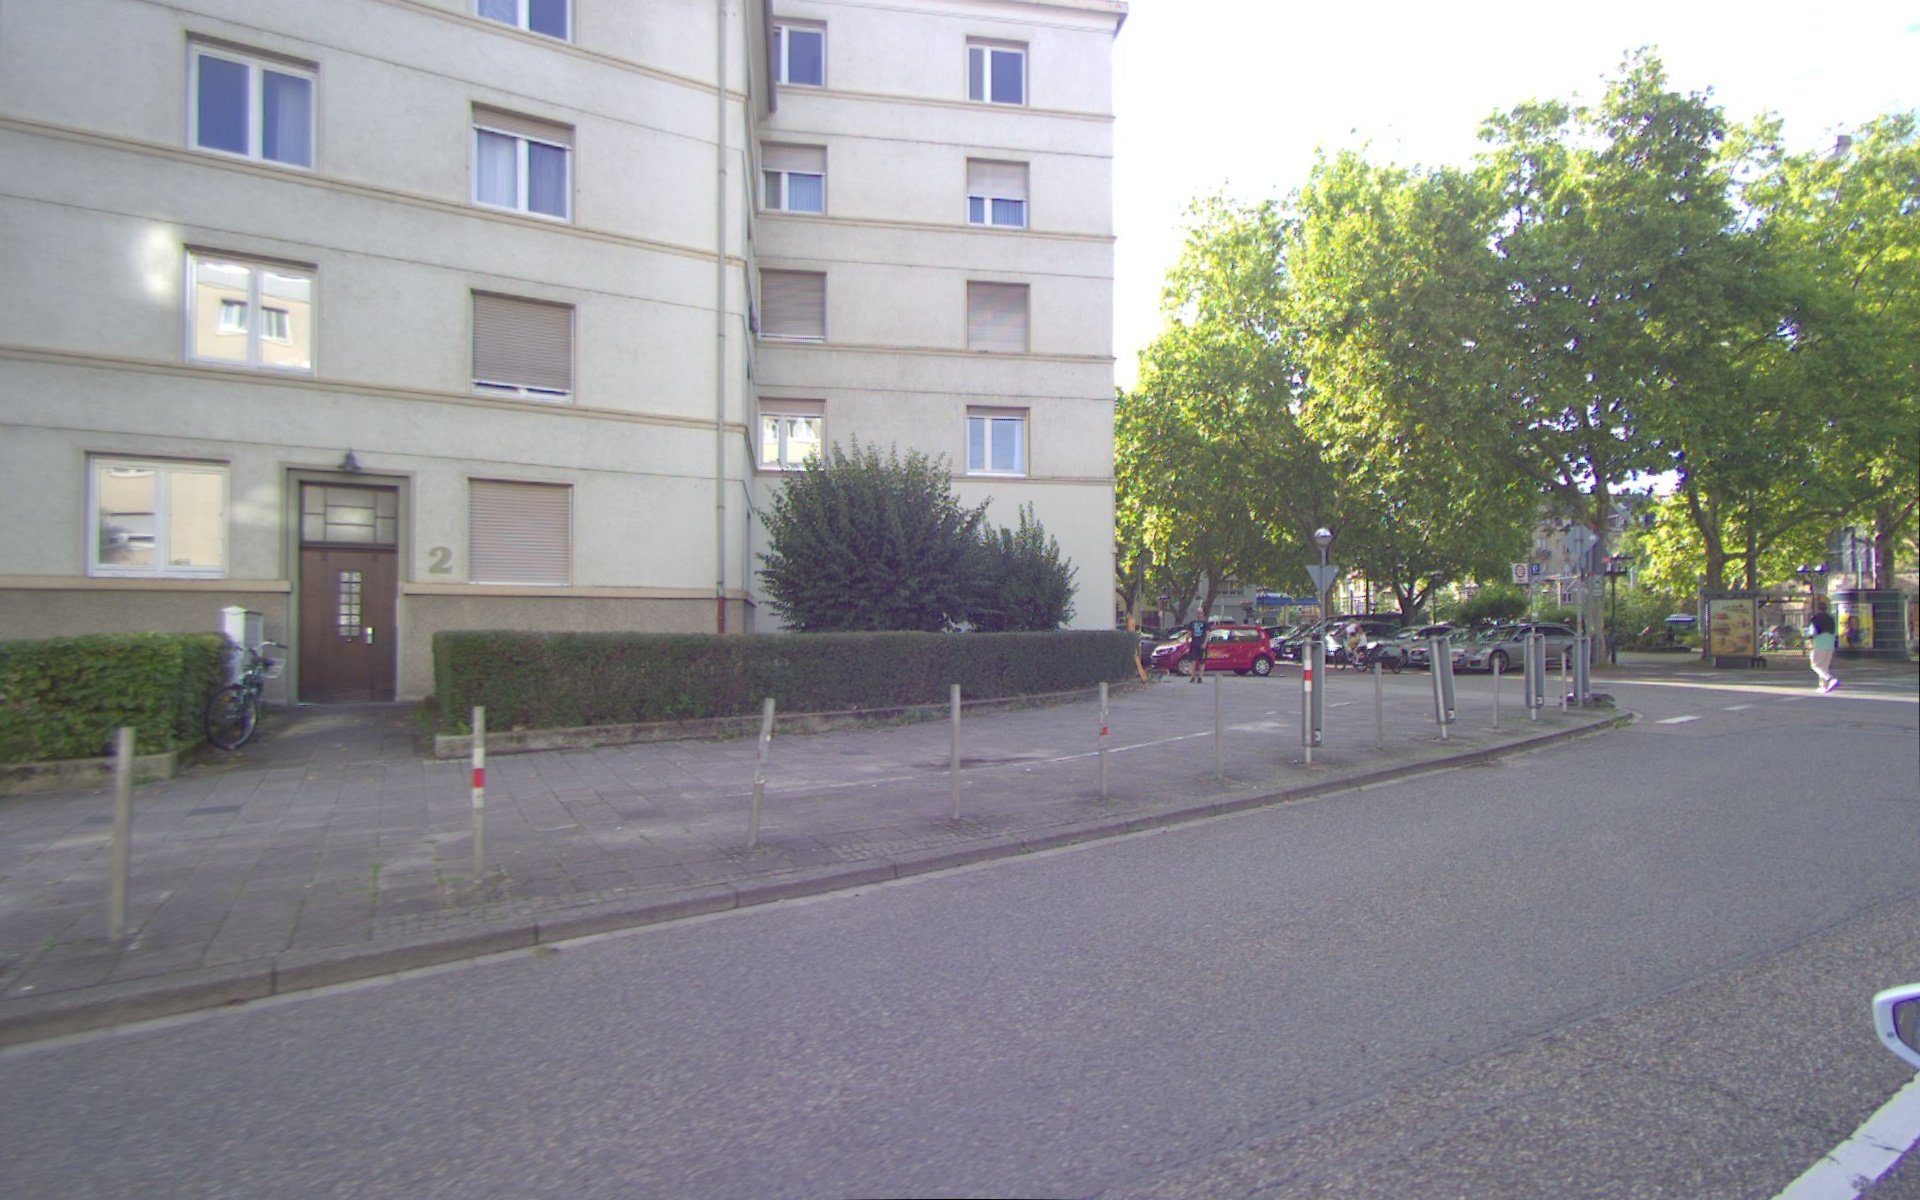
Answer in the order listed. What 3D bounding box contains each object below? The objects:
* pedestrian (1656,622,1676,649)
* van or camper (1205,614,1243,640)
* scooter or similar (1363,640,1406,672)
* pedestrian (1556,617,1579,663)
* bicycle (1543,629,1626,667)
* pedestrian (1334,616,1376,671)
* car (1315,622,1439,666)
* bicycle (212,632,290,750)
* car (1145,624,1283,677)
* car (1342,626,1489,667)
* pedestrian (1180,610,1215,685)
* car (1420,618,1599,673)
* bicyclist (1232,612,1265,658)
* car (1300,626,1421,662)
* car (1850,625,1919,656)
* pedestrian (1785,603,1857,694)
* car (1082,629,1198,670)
[{"bbox_3d":[35.429,1.771,50.398,0.711,1.306,0.816,2,1,31],"label":"pedestrian"},{"bbox_3d":[25.039,2.590,95.442,2.072,2.359,4.488,0,-2,-6],"label":"van or camper"},{"bbox_3d":[12.627,1.653,29.909,0.793,0.935,1.014,0,-1,-4],"label":"scooter or similar"},{"bbox_3d":[23.314,1.530,38.545,0.698,1.738,0.497,1,-2,-32],"label":"pedestrian"},{"bbox_3d":[21.836,1.660,35.170,2.065,1.225,1.392,2,-2,-10],"label":"bicycle"},{"bbox_3d":[12.351,1.353,31.450,0.801,1.676,1.075,0,-1,-7],"label":"pedestrian"},{"bbox_3d":[16.151,1.671,38.958,4.201,1.638,1.680,0,-2,-12],"label":"car"},{"bbox_3d":[-7.584,0.926,10.802,0.591,1.146,1.856,1,-1,-33],"label":"bicycle"},{"bbox_3d":[7.494,1.466,29.725,3.639,1.497,1.594,0,-1,-9],"label":"car"},{"bbox_3d":[16.354,1.655,36.100,4.753,1.396,1.669,0,-2,-12],"label":"car"},{"bbox_3d":[5.223,1.037,22.093,0.719,1.599,0.733,0,-1,11],"label":"pedestrian"},{"bbox_3d":[17.149,1.392,31.387,4.897,1.606,2.232,0,-2,-19],"label":"car"},{"bbox_3d":[10.914,1.316,38.040,0.800,1.714,1.111,0,-1,-9],"label":"bicyclist"},{"bbox_3d":[16.379,1.781,41.177,4.310,1.396,1.856,0,-2,-12],"label":"car"},{"bbox_3d":[58.729,2.485,62.419,1.996,1.895,4.847,0,-2,-13],"label":"car"},{"bbox_3d":[17.550,0.962,20.472,1.063,1.777,0.913,0,0,44],"label":"pedestrian"},{"bbox_3d":[6.157,1.685,34.620,3.637,1.384,1.595,0,-1,-6],"label":"car"}]
